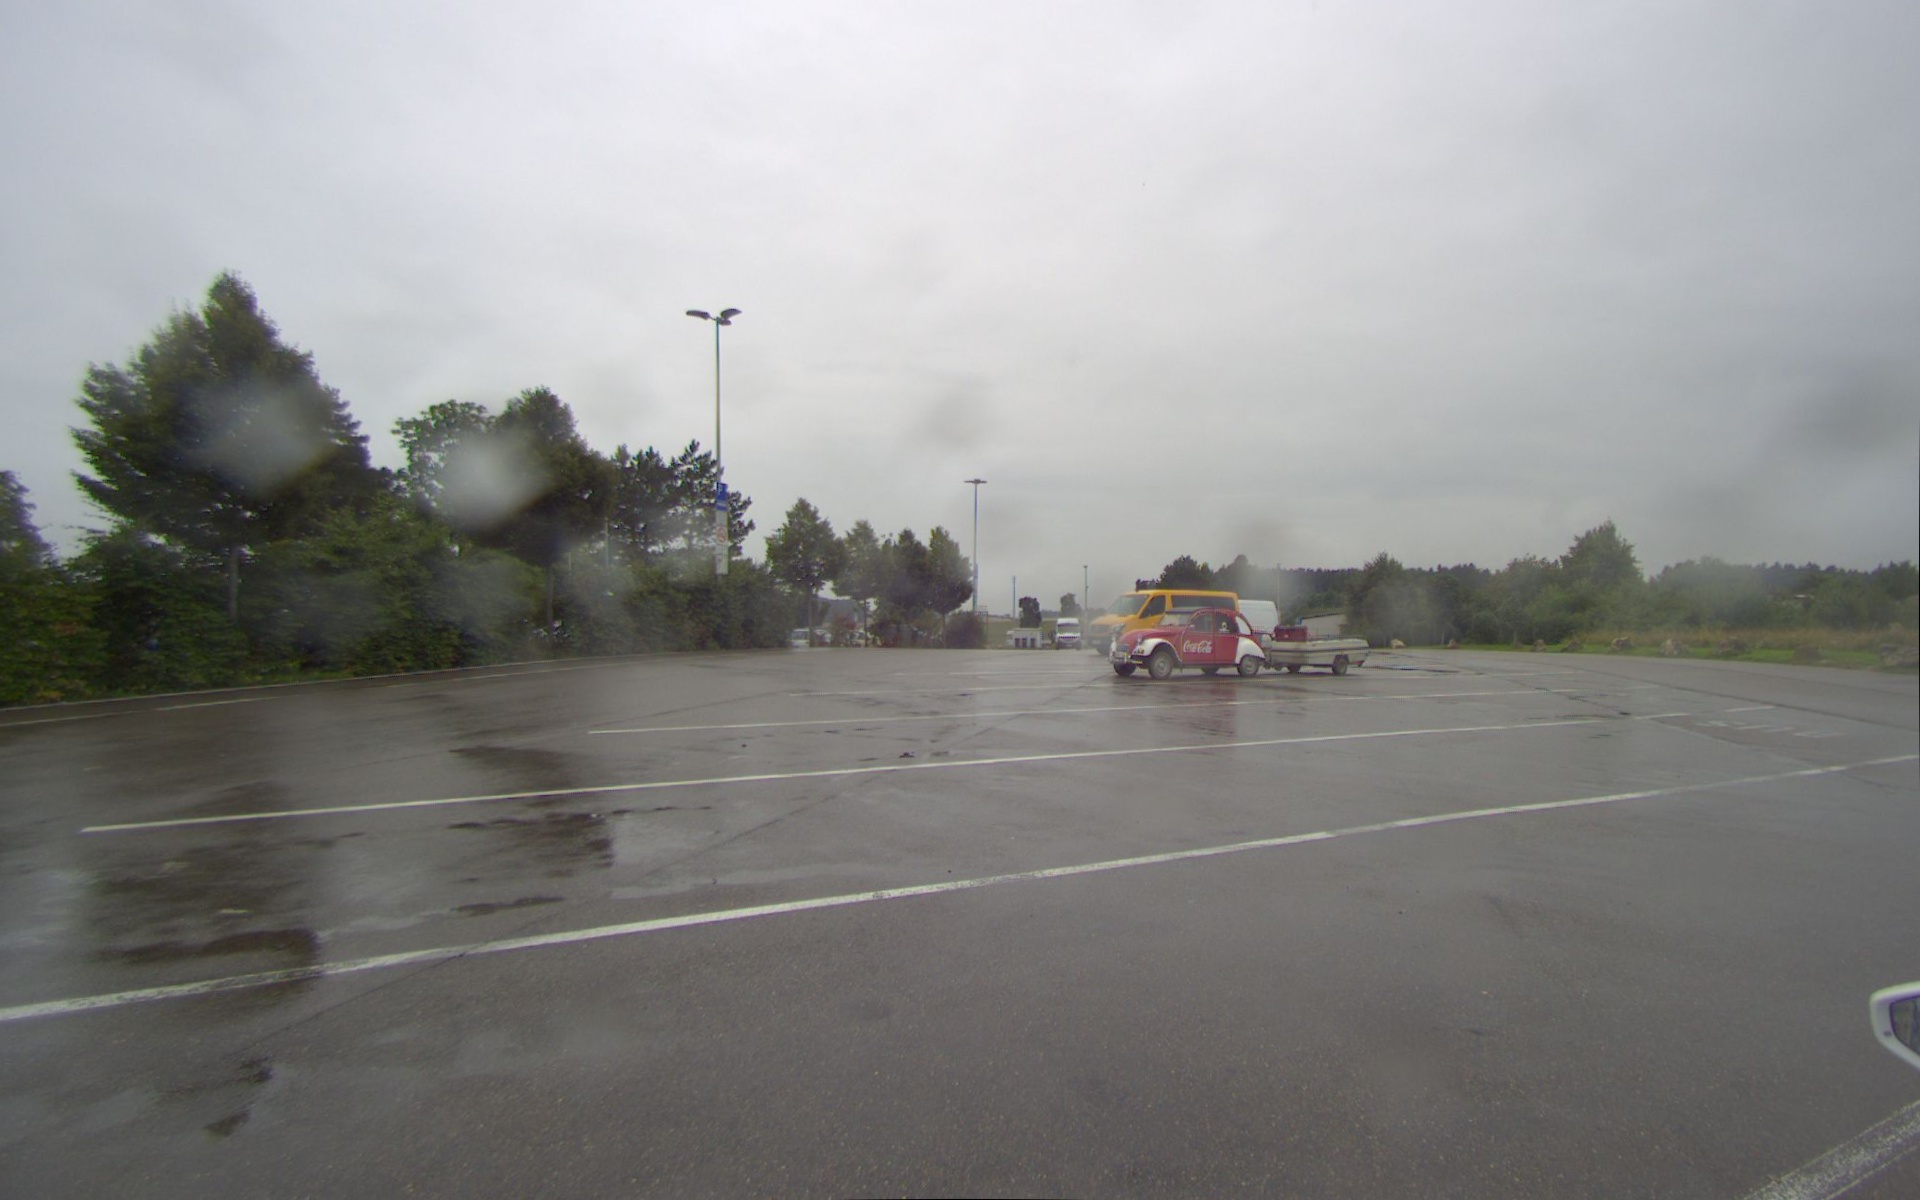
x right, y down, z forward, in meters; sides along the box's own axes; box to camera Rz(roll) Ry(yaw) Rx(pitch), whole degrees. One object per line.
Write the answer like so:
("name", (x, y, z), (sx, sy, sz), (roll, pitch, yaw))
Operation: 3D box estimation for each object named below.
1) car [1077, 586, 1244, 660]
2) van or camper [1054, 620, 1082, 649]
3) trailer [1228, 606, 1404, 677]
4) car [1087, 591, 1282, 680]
("car", (7.136, 0.875, 35.499), (5.955, 2.411, 1.985), (2, -3, -30))
("van or camper", (8.384, 2.674, 78.418), (1.960, 2.195, 4.002), (0, -2, 3))
("trailer", (8.446, 0.945, 23.788), (3.948, 1.553, 1.689), (0, -2, -27))
("car", (4.921, 0.778, 21.984), (3.948, 1.800, 1.816), (1, -2, -27))
